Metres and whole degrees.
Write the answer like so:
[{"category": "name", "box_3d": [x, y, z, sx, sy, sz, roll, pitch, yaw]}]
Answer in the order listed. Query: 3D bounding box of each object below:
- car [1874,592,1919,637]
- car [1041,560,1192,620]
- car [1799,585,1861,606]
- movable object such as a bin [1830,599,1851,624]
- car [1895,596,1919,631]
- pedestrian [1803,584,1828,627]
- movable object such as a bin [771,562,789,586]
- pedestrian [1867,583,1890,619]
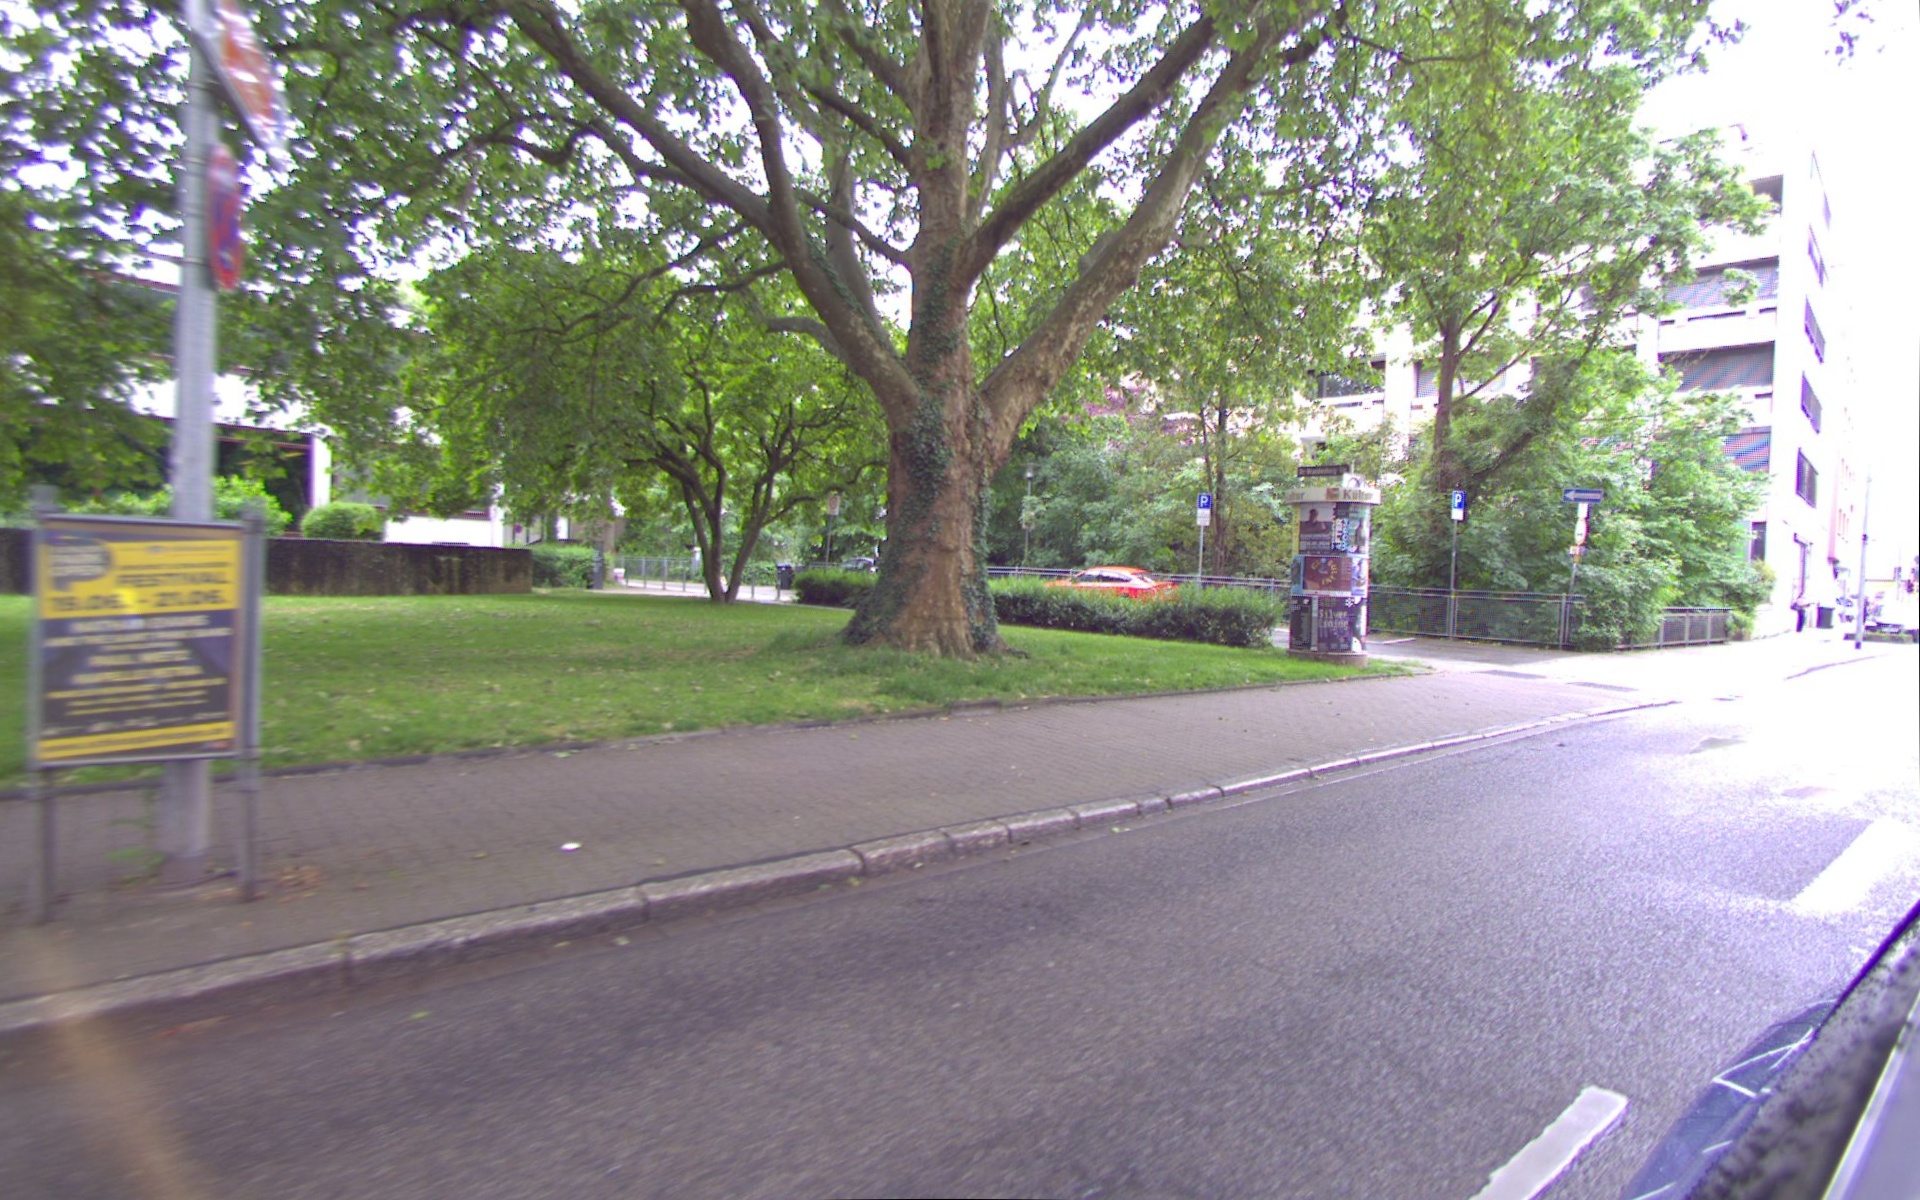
[{"category": "car", "box_3d": [37.015, 0.559, 39.413, 3.741, 1.577, 1.705, 0, 4, -43]}, {"category": "car", "box_3d": [4.484, -0.346, 29.331, 3.989, 1.499, 1.847, 5, 4, 44]}, {"category": "car", "box_3d": [79.245, -0.395, 92.250, 1.801, 1.732, 3.801, 1, 2, -21]}, {"category": "movable object such as a bin", "box_3d": [41.632, 0.545, 47.844, 0.505, 1.117, 0.680, 1, 2, -42]}, {"category": "car", "box_3d": [42.084, 0.593, 43.890, 4.493, 1.437, 1.834, 0, 3, -43]}, {"category": "pedestrian", "box_3d": [34.353, 0.212, 40.644, 0.598, 1.679, 0.681, 7, 4, 42]}, {"category": "movable object such as a bin", "box_3d": [-7.624, -1.089, 42.767, 0.573, 0.986, 0.512, 0, 0, -41]}, {"category": "pedestrian", "box_3d": [56.225, 0.060, 61.938, 0.797, 2.179, 0.732, 2, 1, 26]}]
